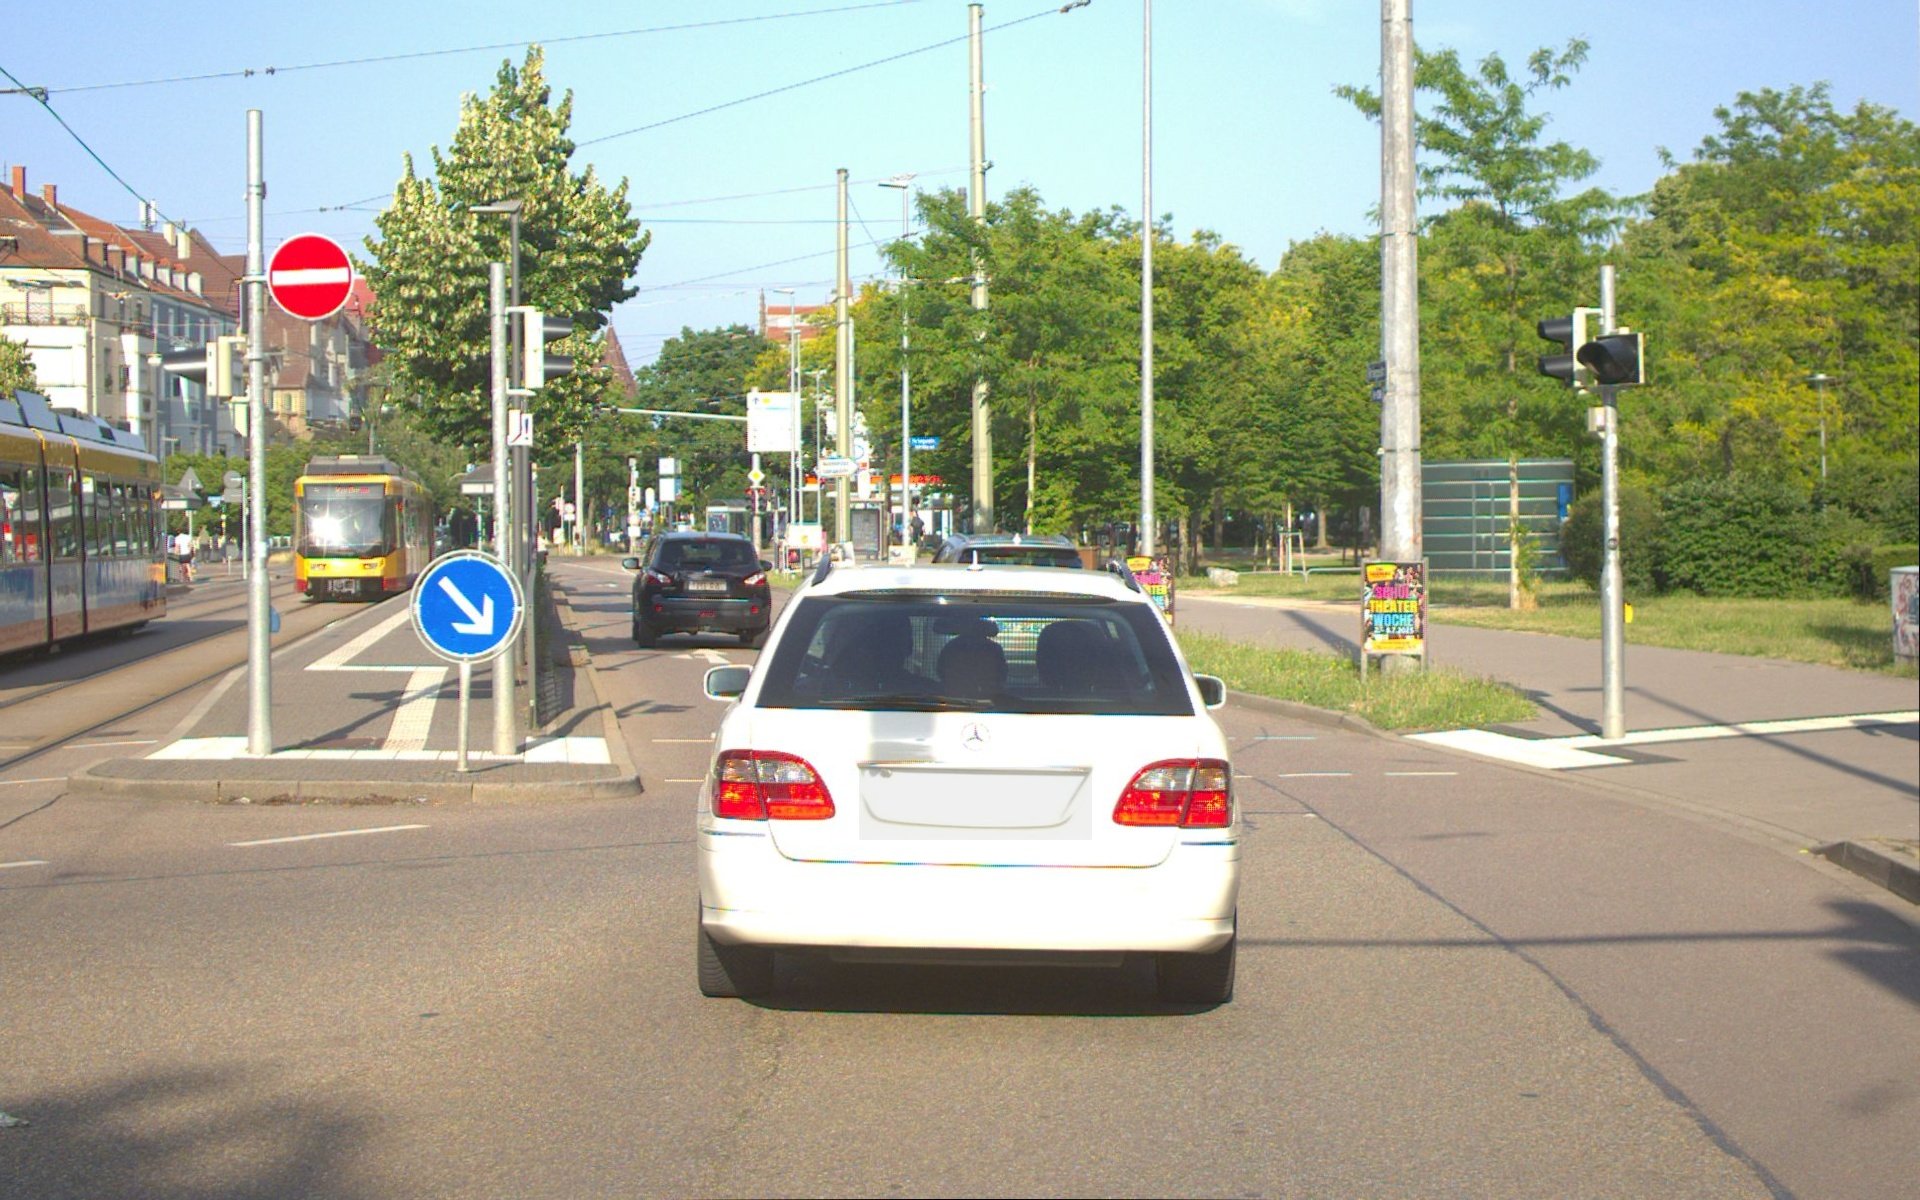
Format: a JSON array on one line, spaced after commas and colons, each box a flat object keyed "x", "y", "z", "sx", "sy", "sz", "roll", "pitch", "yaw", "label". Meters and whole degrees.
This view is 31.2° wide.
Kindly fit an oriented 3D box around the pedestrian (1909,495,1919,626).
[{"x": 6.524, "y": 0.145, "z": 21.961, "sx": 0.615, "sy": 1.686, "sz": 0.548, "roll": -5, "pitch": 2, "yaw": -3, "label": "pedestrian"}]

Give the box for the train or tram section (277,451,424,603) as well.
[{"x": -15.056, "y": -1.878, "z": 85.747, "sx": 2.849, "sy": 3.467, "sz": 13.203, "roll": 1, "pitch": 2, "yaw": -7, "label": "train or tram section"}]

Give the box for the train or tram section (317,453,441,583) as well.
[{"x": -16.556, "y": -2.365, "z": 98.640, "sx": 2.849, "sy": 3.467, "sz": 13.203, "roll": 0, "pitch": 2, "yaw": -7, "label": "train or tram section"}]

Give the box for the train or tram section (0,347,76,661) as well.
[{"x": -12.160, "y": -1.061, "z": 37.746, "sx": 3.161, "sy": 3.467, "sz": 14.537, "roll": 0, "pitch": 2, "yaw": -8, "label": "train or tram section"}]

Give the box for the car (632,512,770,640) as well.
[{"x": -3.553, "y": -0.366, "z": 47.693, "sx": 1.787, "sy": 1.684, "sz": 4.001, "roll": 0, "pitch": 1, "yaw": -3, "label": "car"}]

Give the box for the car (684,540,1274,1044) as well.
[{"x": -0.095, "y": 0.549, "z": 12.343, "sx": 1.758, "sy": 1.498, "sz": 4.001, "roll": 0, "pitch": 1, "yaw": -5, "label": "car"}]

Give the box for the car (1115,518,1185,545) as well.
[{"x": 12.017, "y": -4.344, "z": 217.387, "sx": 3.987, "sy": 1.645, "sz": 2.000, "roll": -1, "pitch": 1, "yaw": -33, "label": "car"}]

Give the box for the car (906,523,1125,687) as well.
[{"x": 0.519, "y": 0.009, "z": 36.155, "sx": 2.033, "sy": 1.600, "sz": 4.001, "roll": 0, "pitch": 1, "yaw": -3, "label": "car"}]

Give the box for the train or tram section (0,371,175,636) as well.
[{"x": -14.146, "y": -1.459, "z": 52.095, "sx": 3.161, "sy": 3.467, "sz": 14.476, "roll": 0, "pitch": 2, "yaw": -8, "label": "train or tram section"}]
